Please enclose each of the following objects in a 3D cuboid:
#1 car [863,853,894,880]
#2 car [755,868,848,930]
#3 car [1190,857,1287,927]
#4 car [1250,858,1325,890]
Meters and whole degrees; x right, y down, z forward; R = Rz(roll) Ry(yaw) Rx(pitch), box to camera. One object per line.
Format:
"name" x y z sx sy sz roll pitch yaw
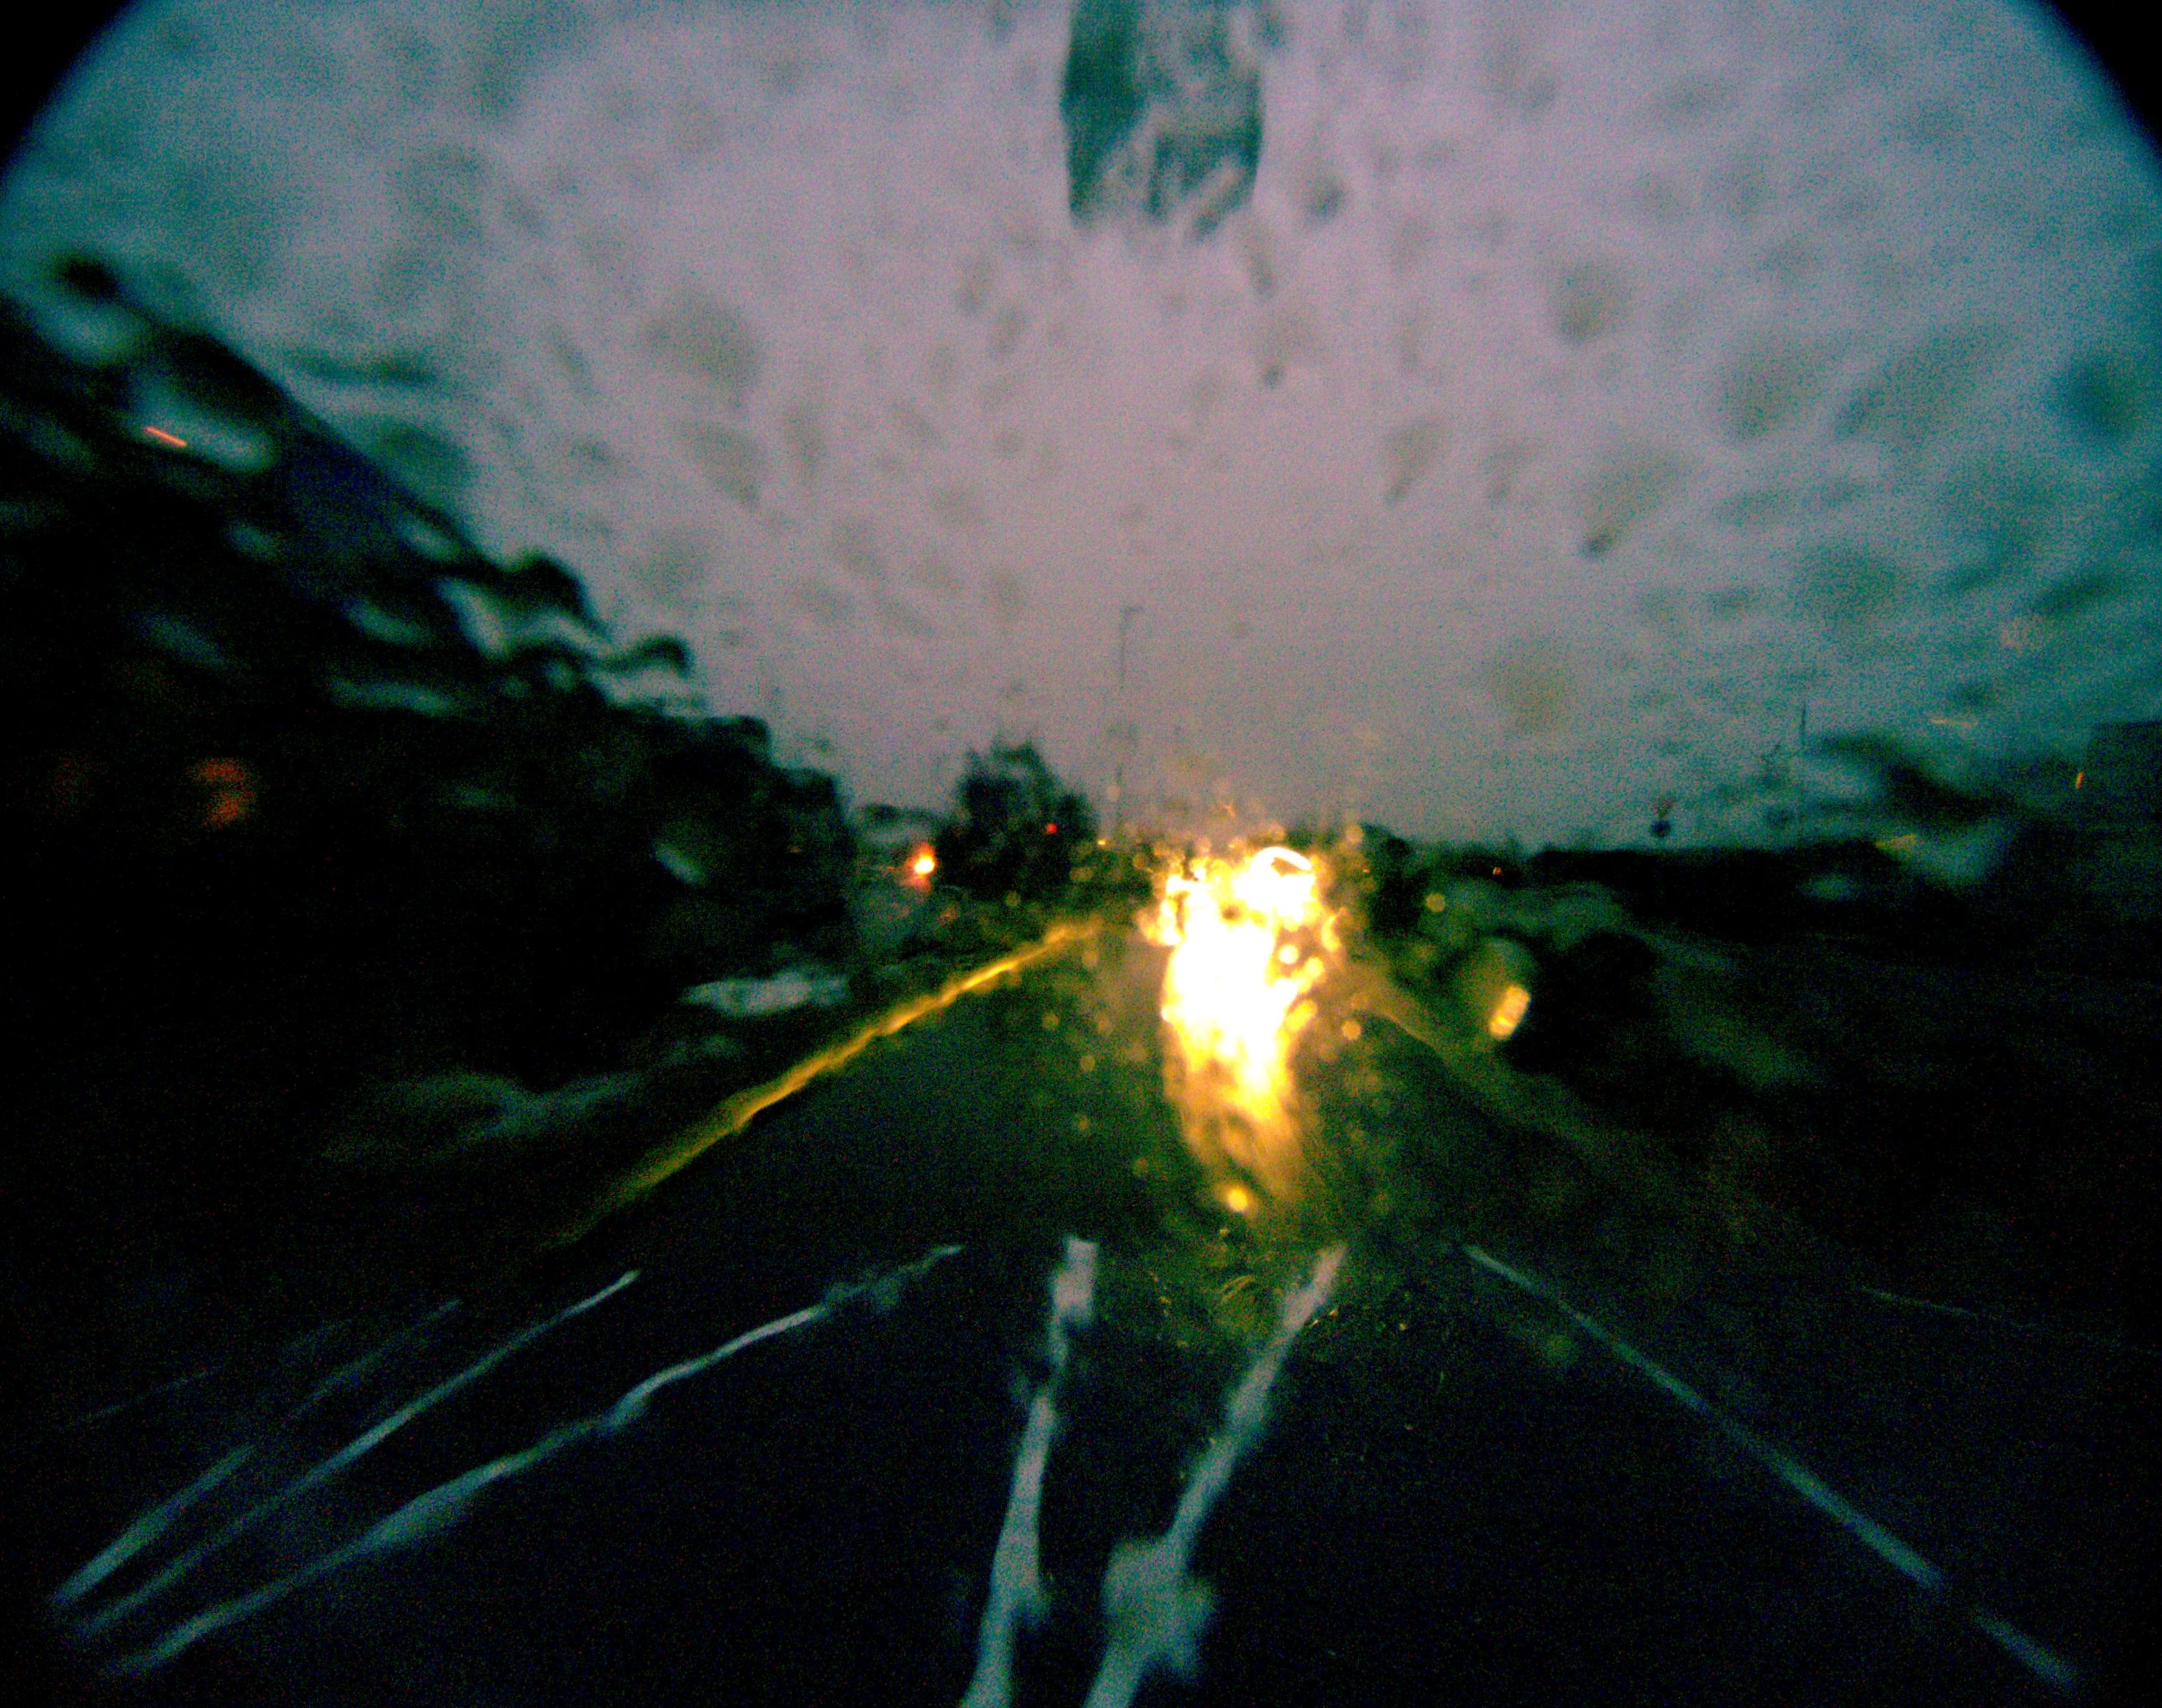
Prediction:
"car" -13.844 0.844 52.087 1.950 1.795 4.167 1 0 -13
"car" -7.192 1.094 19.873 1.778 1.422 3.792 0 0 -13
"car" 4.307 0.915 20.261 1.773 1.632 4.429 1 0 22
"car" 10.277 0.964 38.141 2.001 1.464 3.995 0 0 -12
